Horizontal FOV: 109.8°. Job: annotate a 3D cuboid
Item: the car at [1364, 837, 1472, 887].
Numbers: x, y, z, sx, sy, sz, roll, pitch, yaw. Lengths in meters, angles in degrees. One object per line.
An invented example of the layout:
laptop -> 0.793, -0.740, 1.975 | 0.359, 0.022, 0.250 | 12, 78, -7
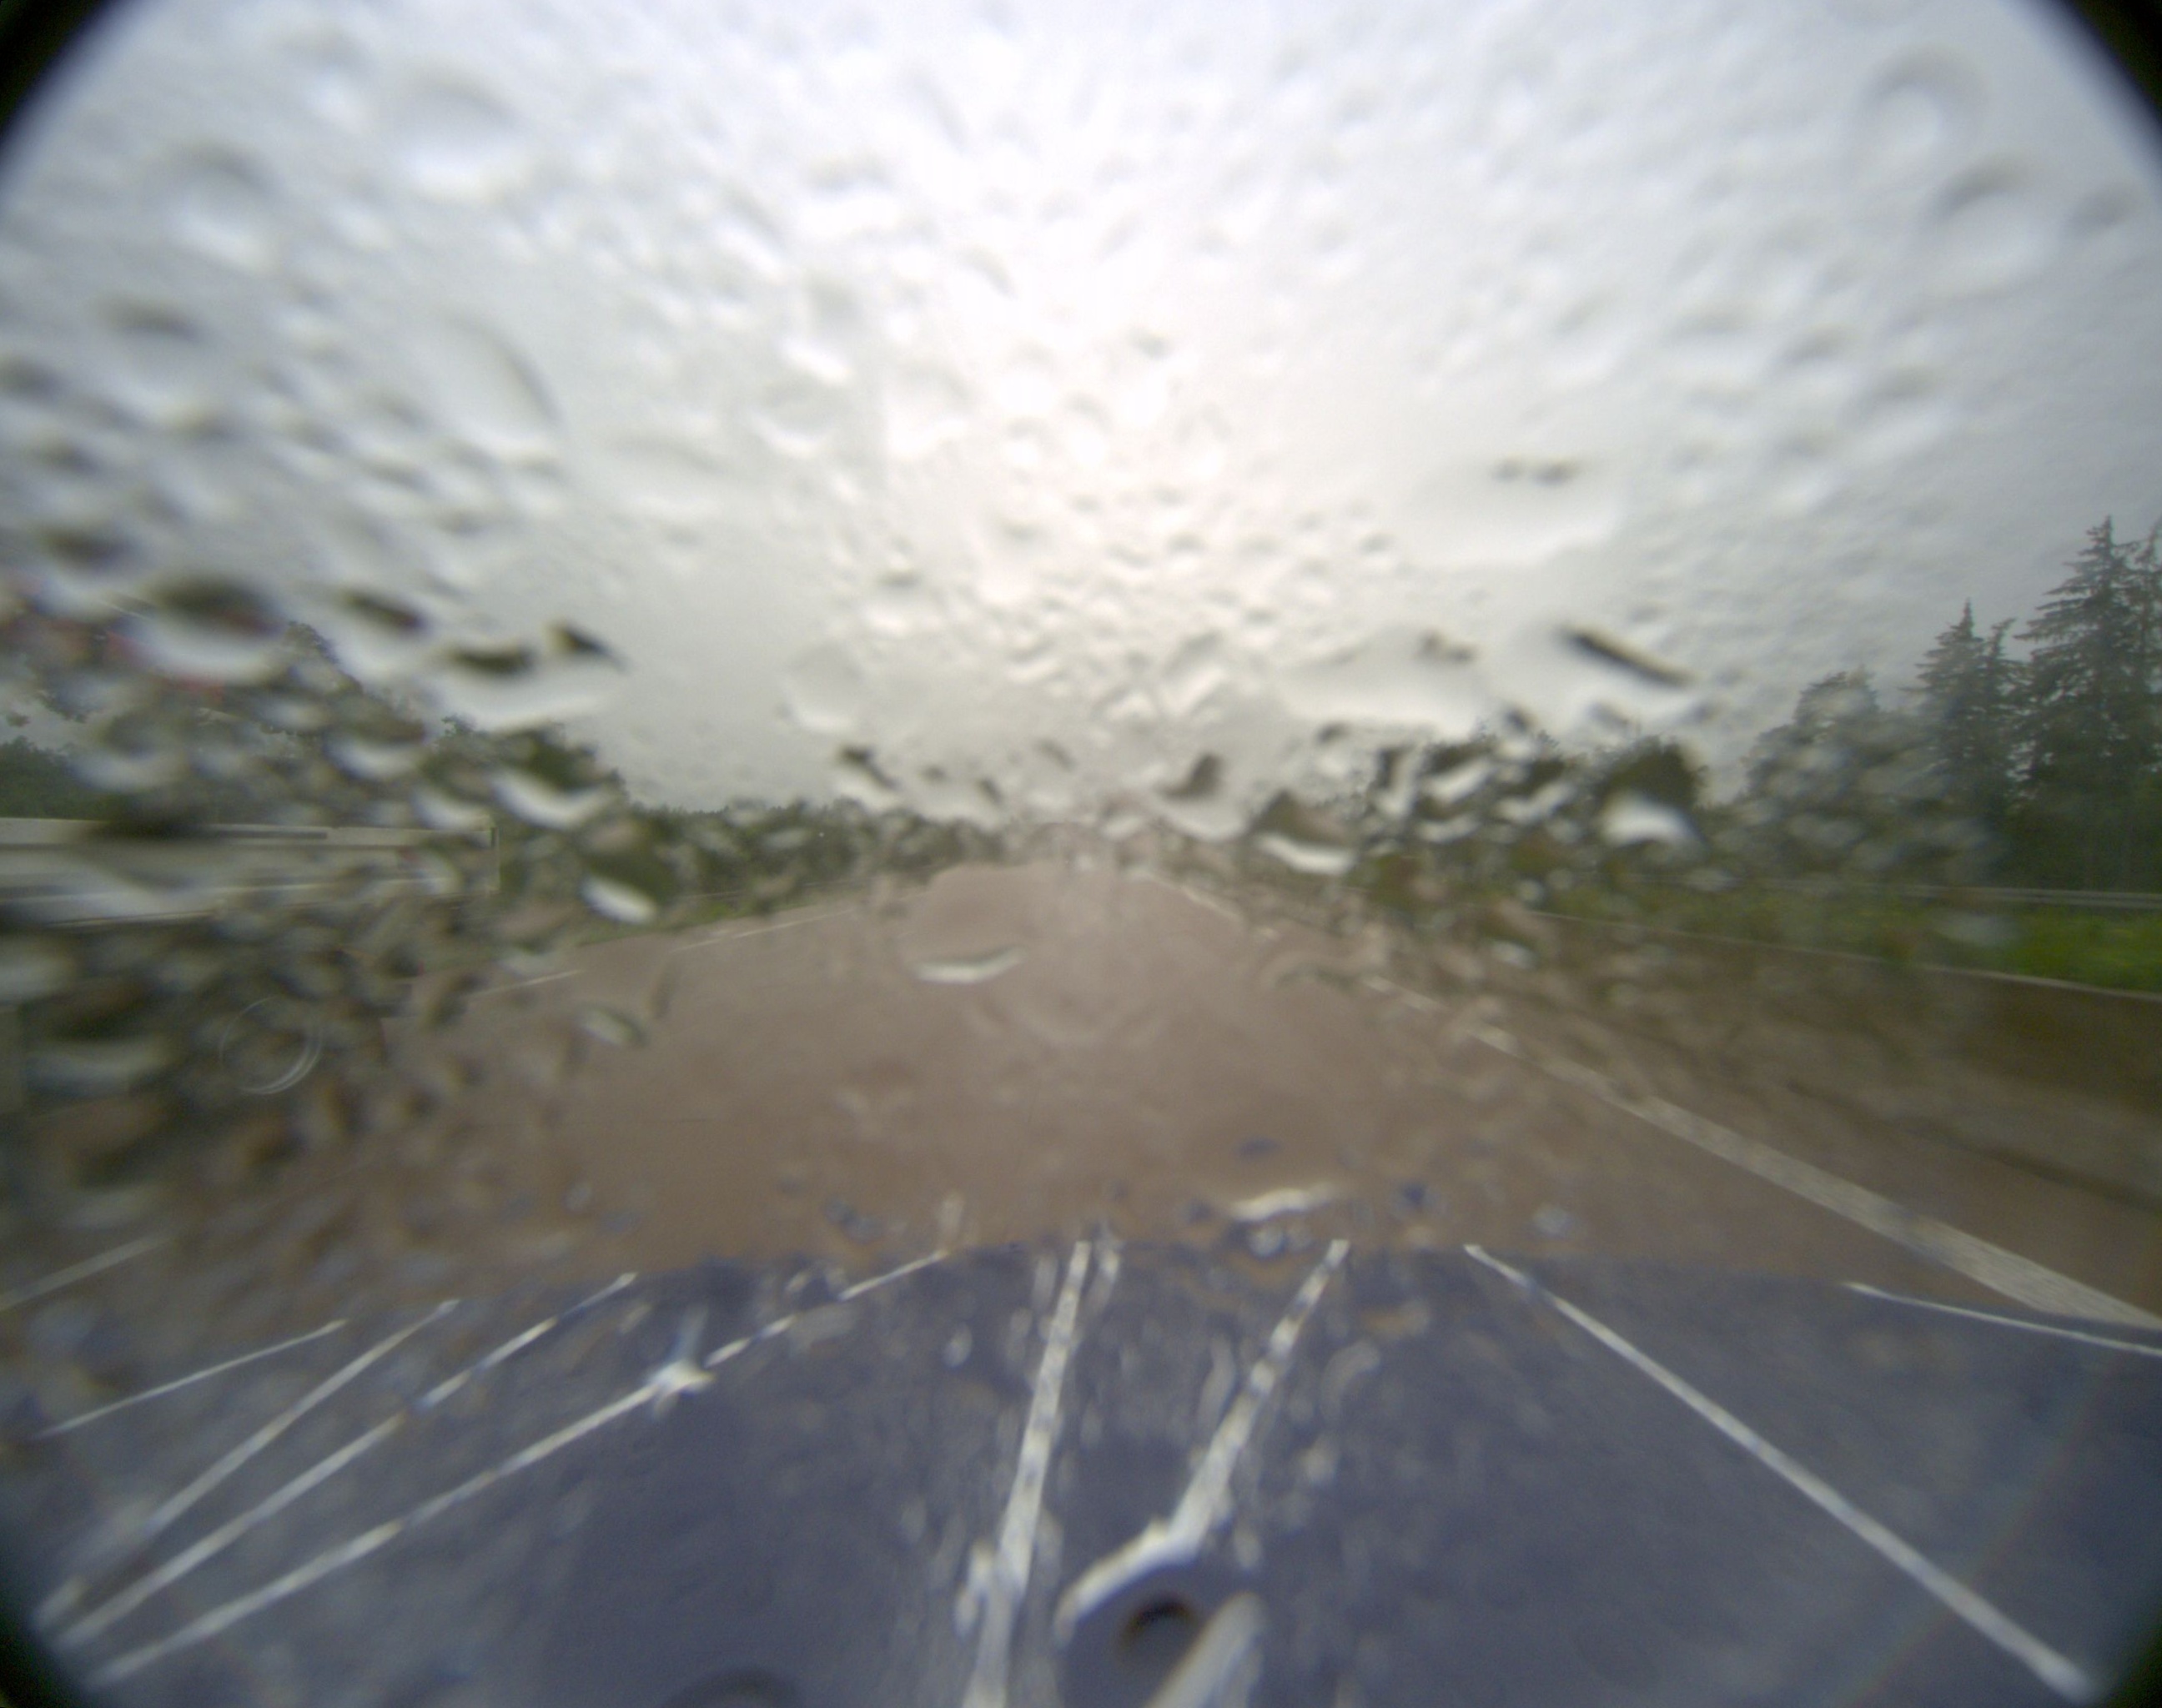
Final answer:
car -> 14.979, 0.323, 34.210 | 2.312, 1.966, 5.755 | -2, 0, 1

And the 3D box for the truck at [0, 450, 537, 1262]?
truck -> -6.574, 0.050, 2.716 | 3.242, 3.708, 7.954 | -2, 0, 1

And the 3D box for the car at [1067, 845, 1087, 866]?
car -> -0.426, 0.141, 80.016 | 1.998, 2.002, 4.276 | -3, 1, 0
